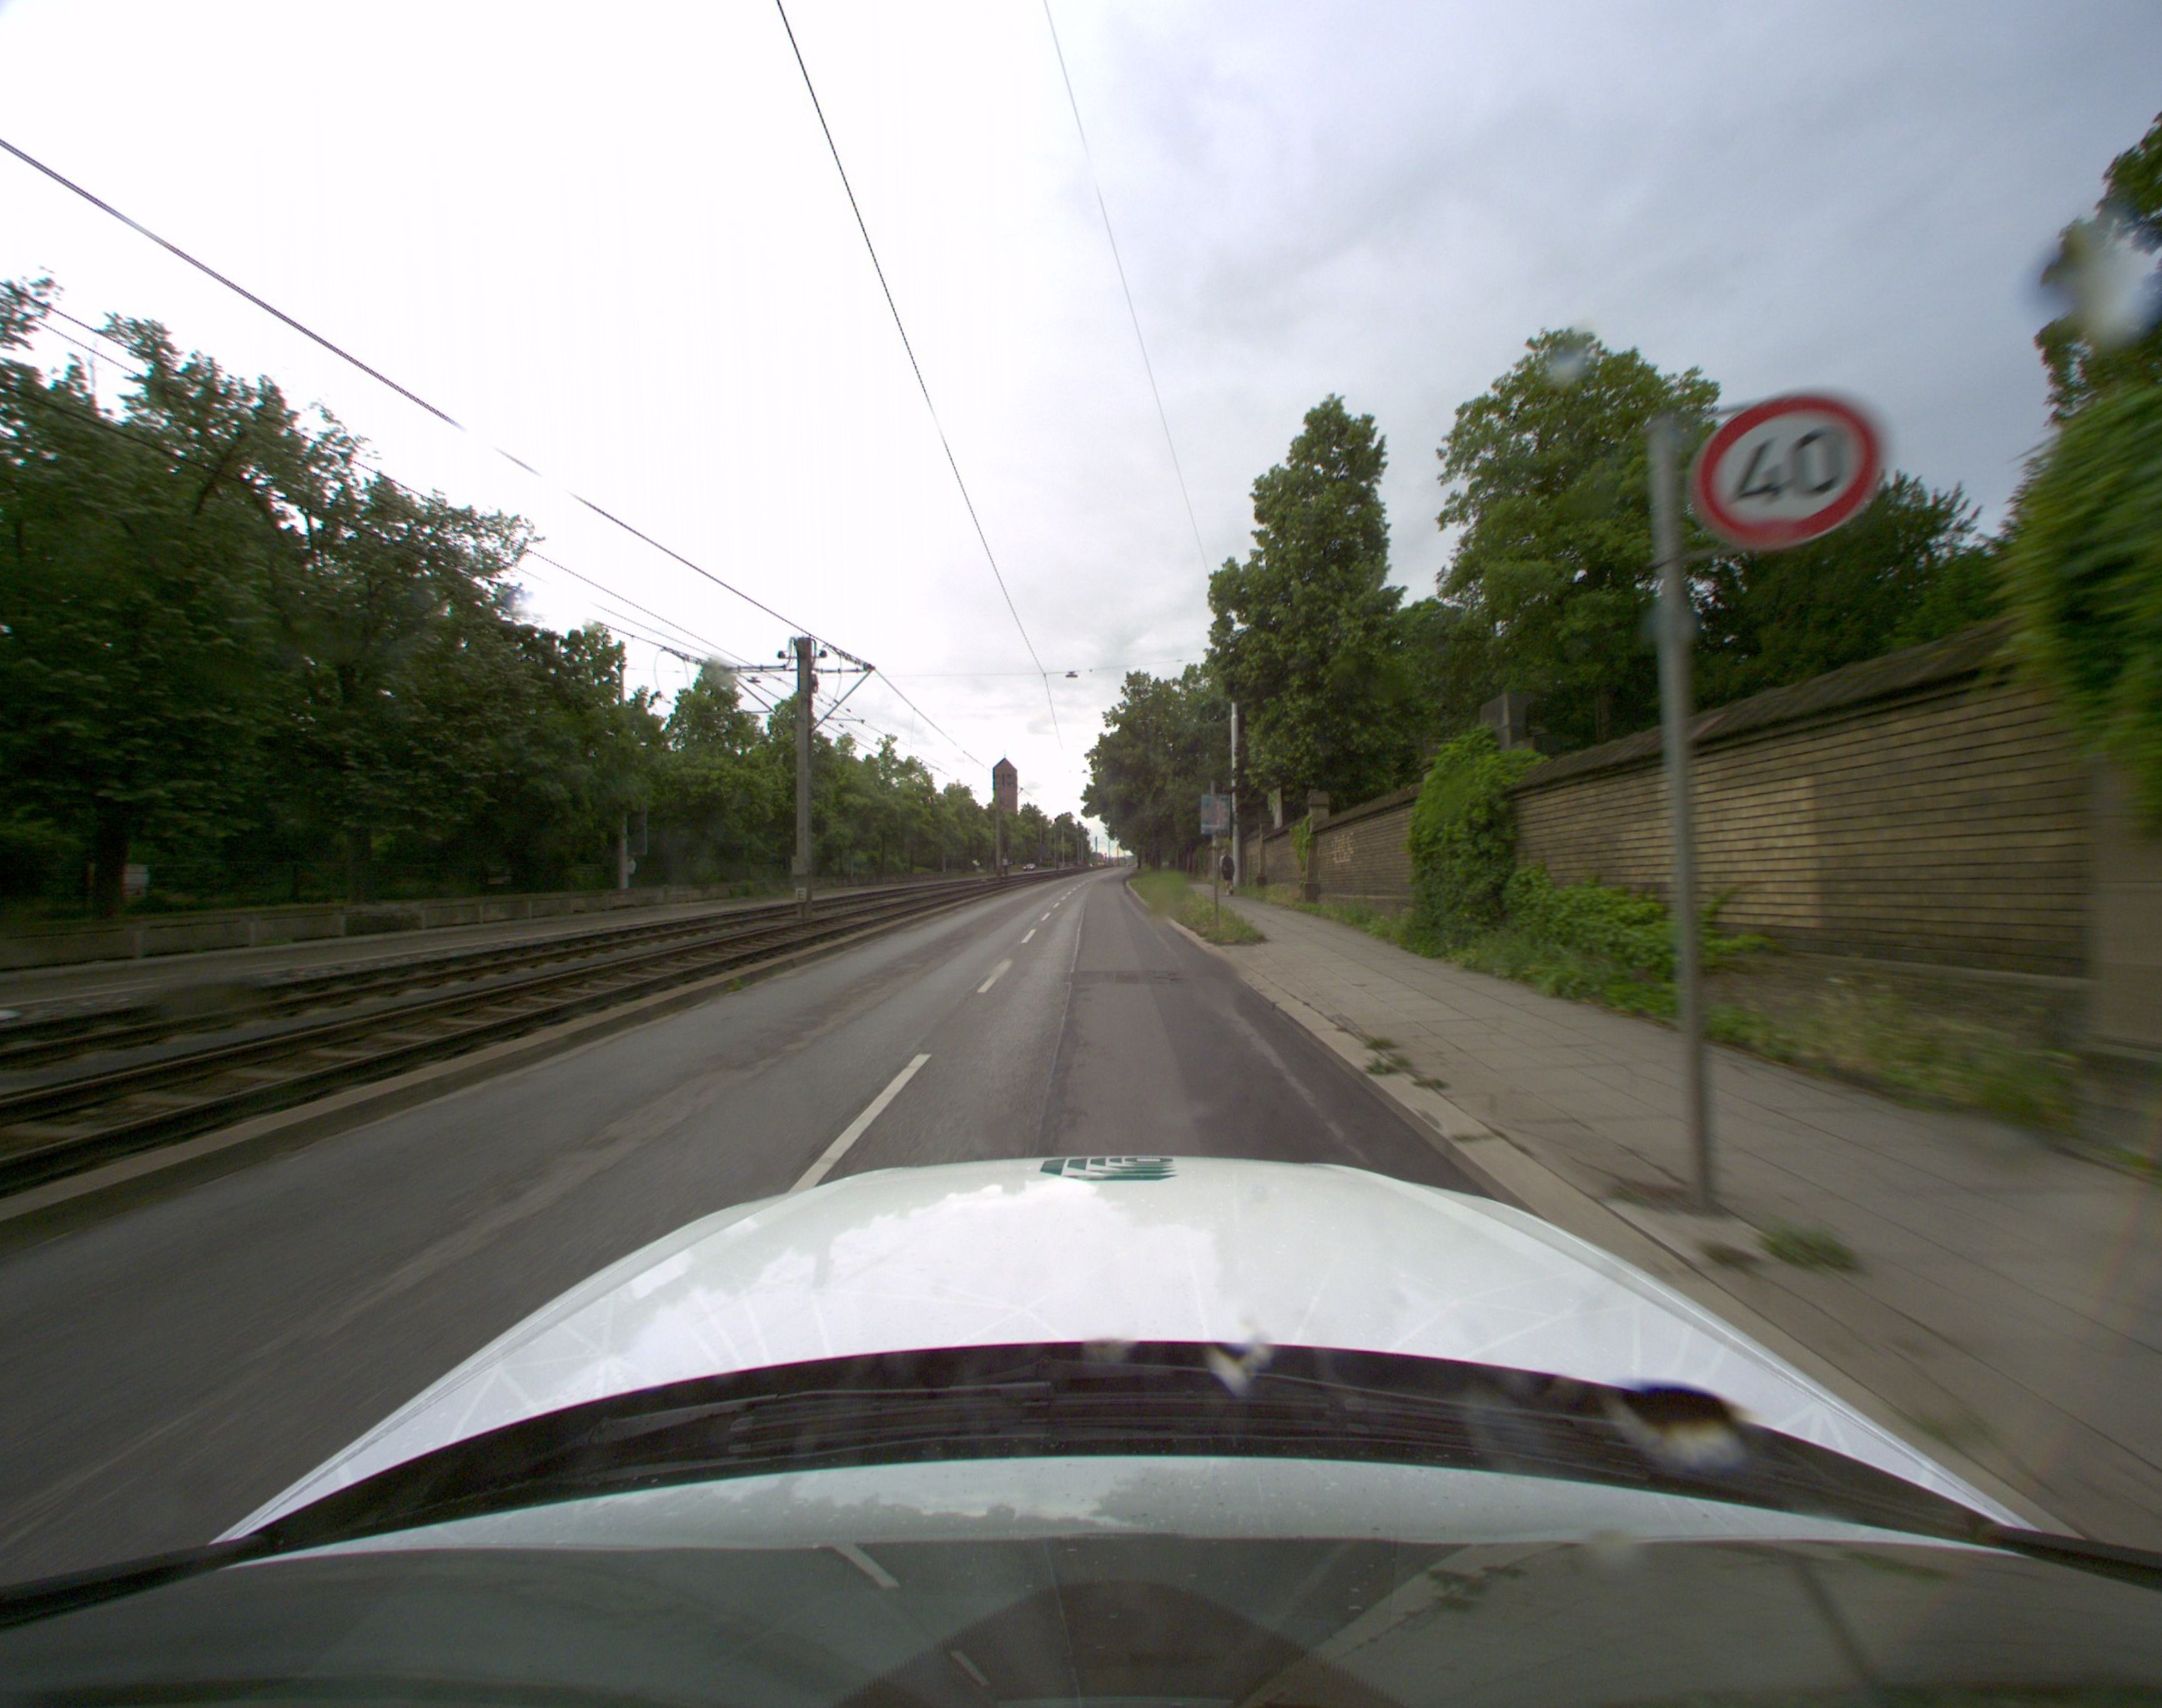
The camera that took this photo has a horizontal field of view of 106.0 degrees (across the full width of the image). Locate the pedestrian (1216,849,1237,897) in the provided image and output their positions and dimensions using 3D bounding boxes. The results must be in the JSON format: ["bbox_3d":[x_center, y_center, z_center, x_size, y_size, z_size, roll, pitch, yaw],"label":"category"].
[{"bbox_3d":[5.754,0.751,32.274,0.716,1.850,0.784,-1,-1,3],"label":"pedestrian"}]

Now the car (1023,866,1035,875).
[{"bbox_3d":[-10.274,3.252,161.793,1.786,1.510,3.852,-2,0,3],"label":"car"}]

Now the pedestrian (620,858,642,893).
[{"bbox_3d":[-22.489,1.076,40.705,0.645,1.661,0.651,-3,0,4],"label":"pedestrian"}]

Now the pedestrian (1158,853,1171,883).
[{"bbox_3d":[4.772,0.799,46.475,0.716,1.687,0.730,-1,-1,3],"label":"pedestrian"}]
